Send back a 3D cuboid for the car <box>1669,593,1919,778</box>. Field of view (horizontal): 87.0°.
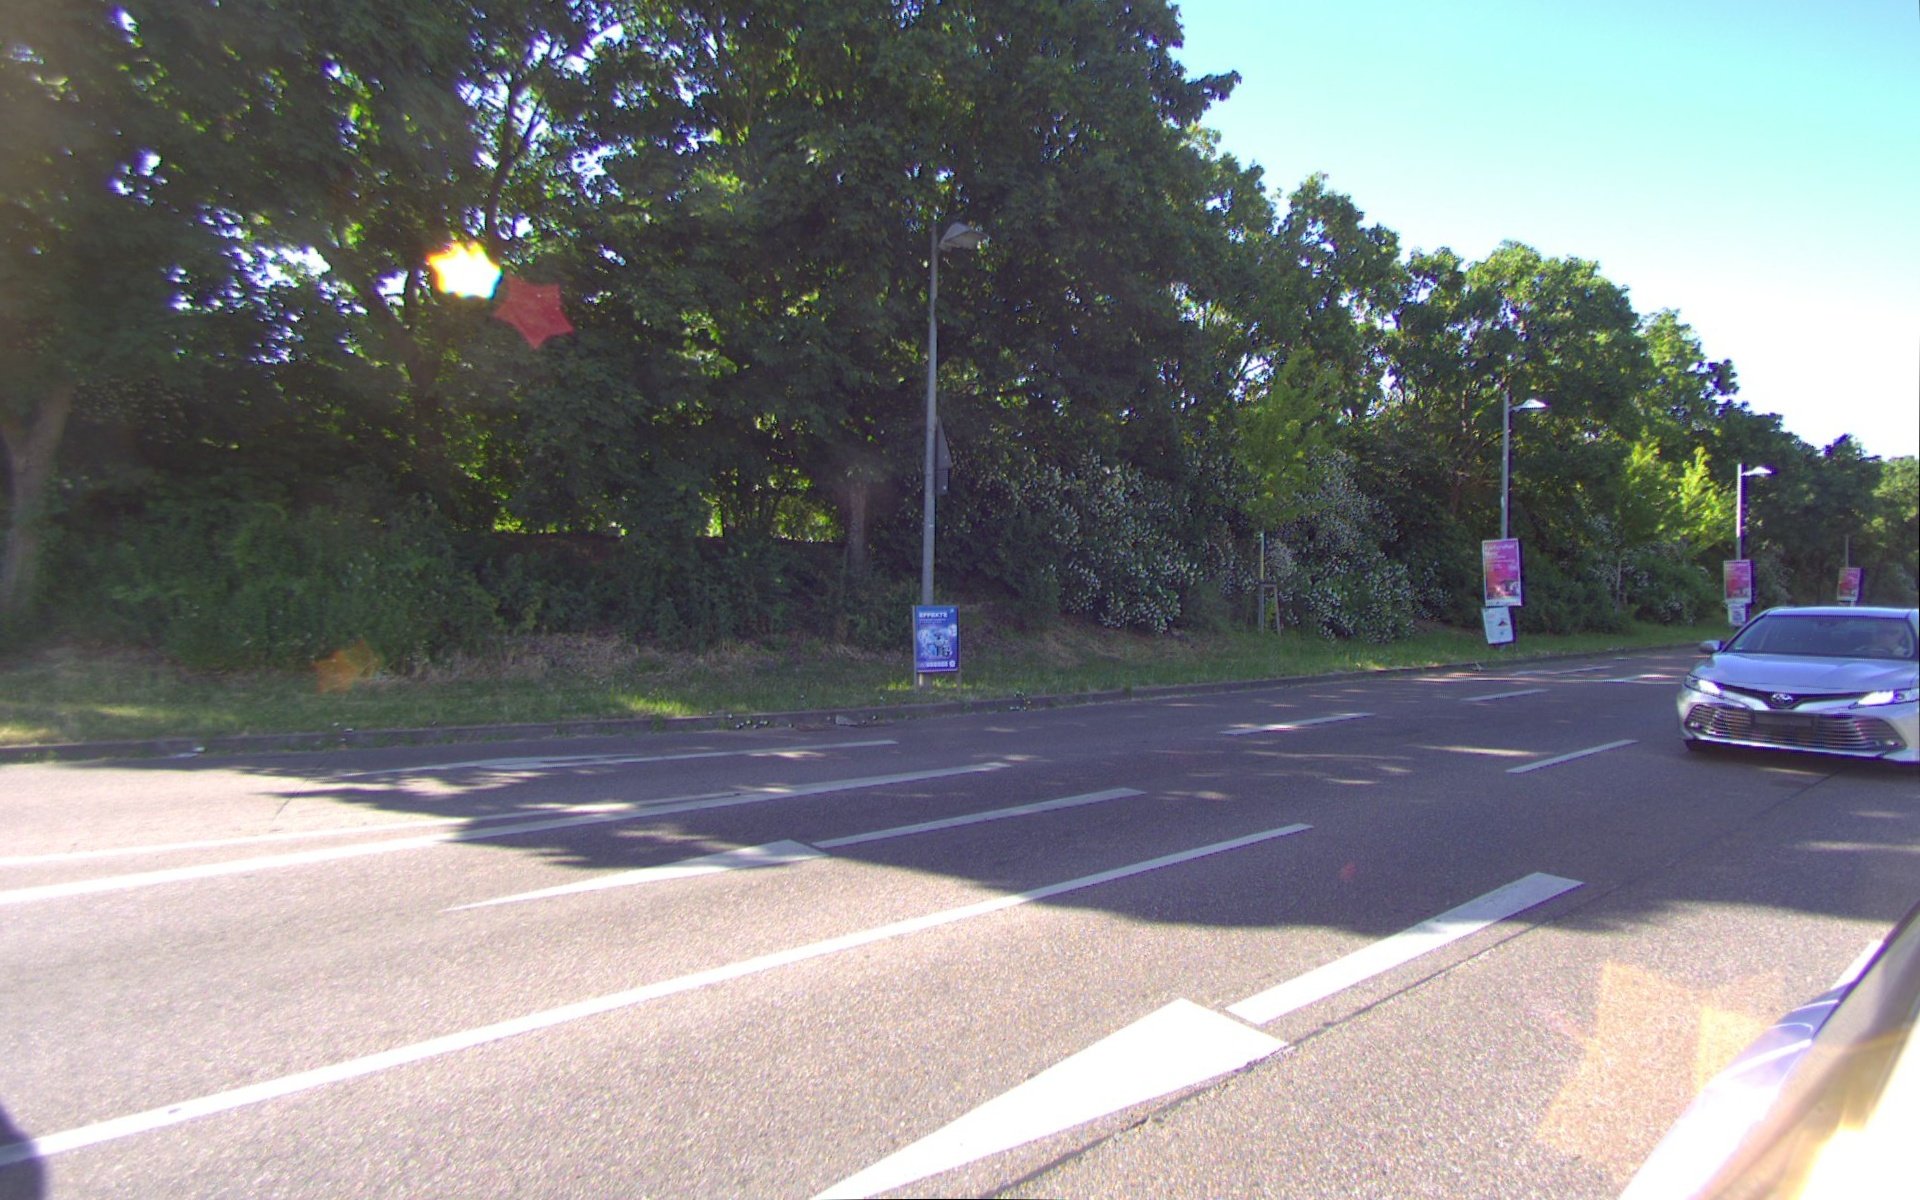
[{"bbox_3d":[8.961,0.678,10.174,4.512,1.454,1.875,0,1,-40],"label":"car"}]
